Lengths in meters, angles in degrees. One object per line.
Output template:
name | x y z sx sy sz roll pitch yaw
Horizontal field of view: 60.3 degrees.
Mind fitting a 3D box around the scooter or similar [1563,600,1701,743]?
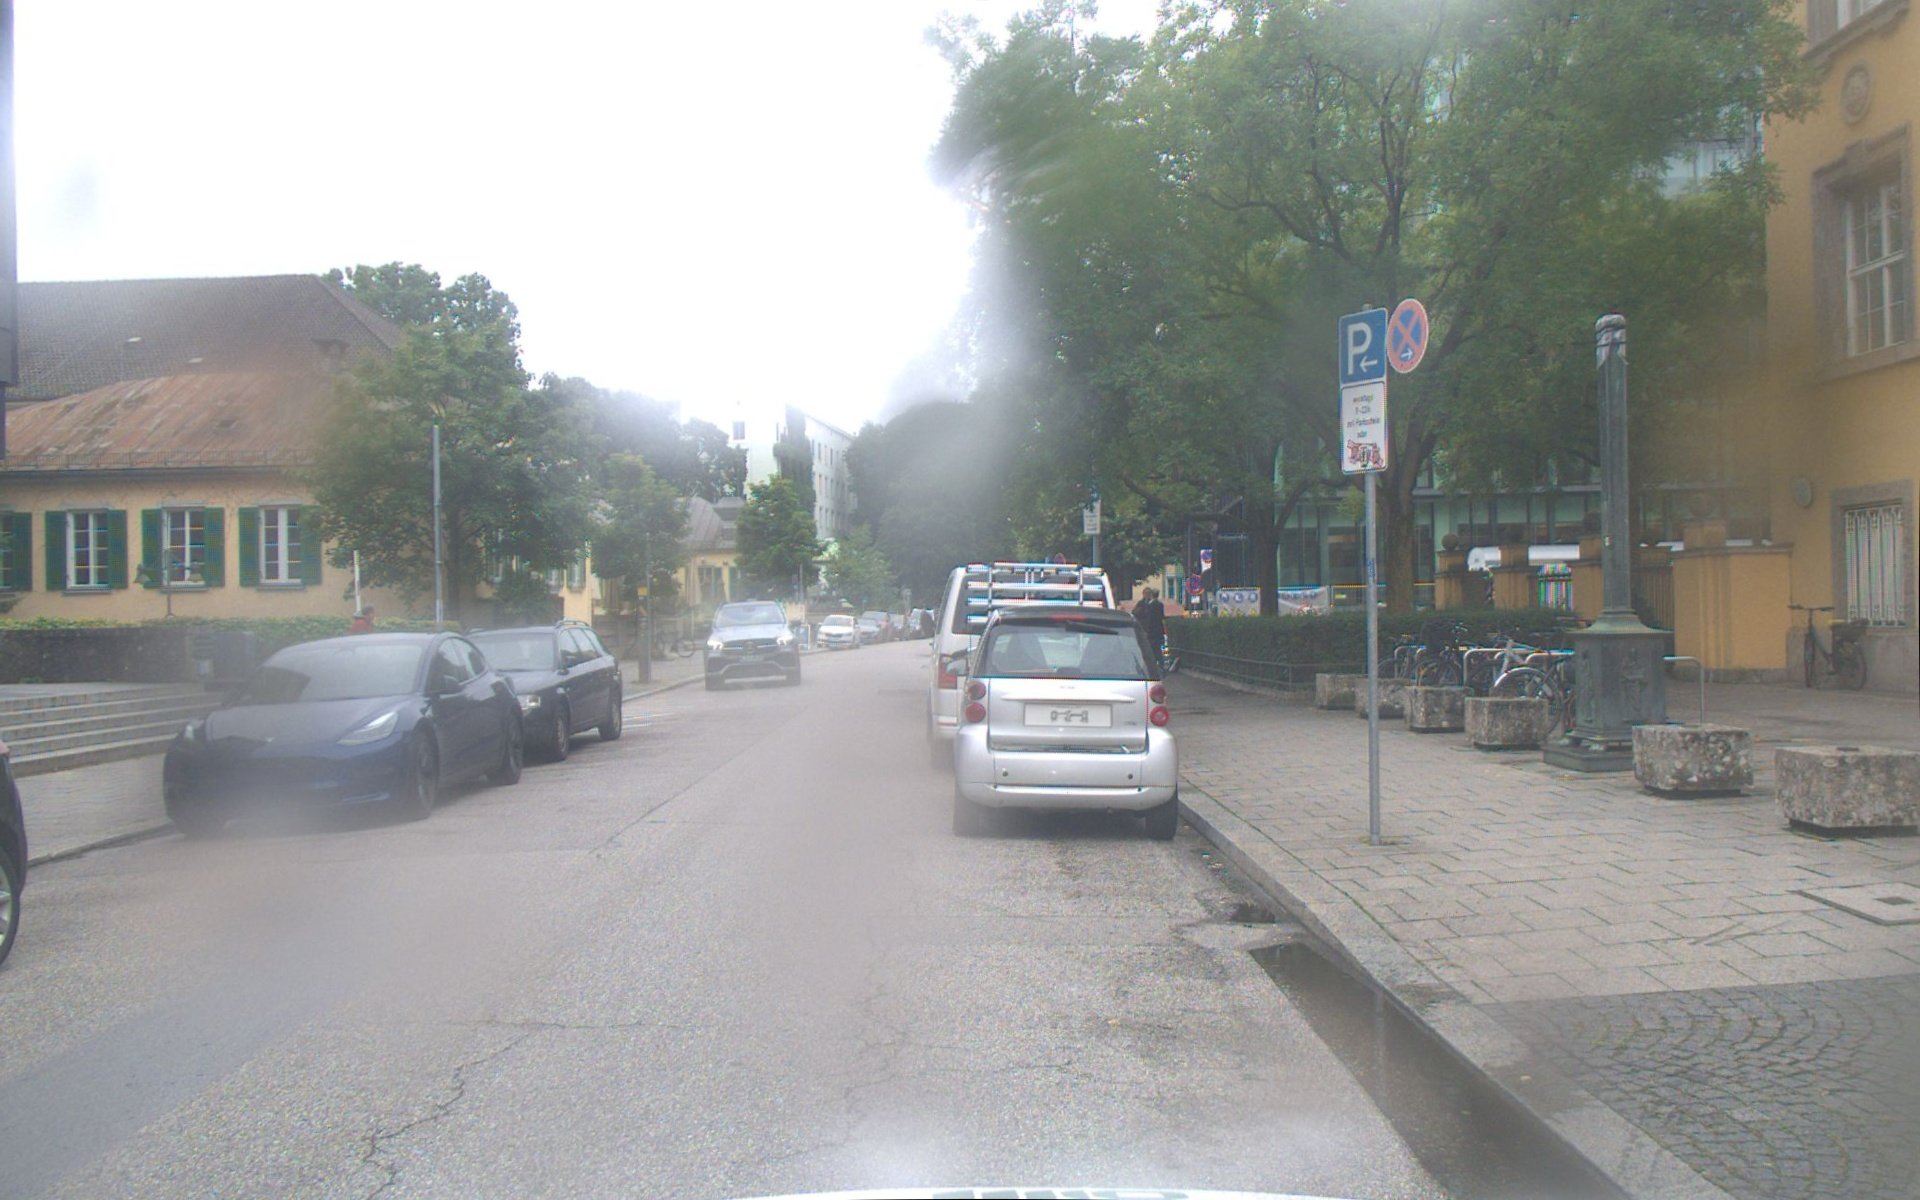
scooter or similar | 6.098 0.642 15.018 0.995 1.243 0.534 -3 -1 45

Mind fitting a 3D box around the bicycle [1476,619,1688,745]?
bicycle | 6.125 0.799 16.309 1.893 1.133 0.471 -2 0 -4

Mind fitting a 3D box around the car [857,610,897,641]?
car | -4.622 1.449 92.840 1.952 1.631 4.000 -1 -1 1

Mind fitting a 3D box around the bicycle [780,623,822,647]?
bicycle | -6.776 1.483 70.637 0.610 1.022 2.134 1 0 32

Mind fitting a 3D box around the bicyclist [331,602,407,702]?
bicyclist | -9.281 0.817 25.969 1.077 1.524 0.668 0 -2 -25

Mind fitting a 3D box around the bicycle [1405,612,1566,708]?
bicycle | 6.778 0.769 21.370 1.892 1.133 0.471 -2 0 1

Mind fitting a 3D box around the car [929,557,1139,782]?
car | 0.618 0.641 17.490 1.808 1.967 5.271 2 0 -2

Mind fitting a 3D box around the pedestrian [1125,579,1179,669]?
pedestrian | 4.217 0.520 36.271 0.729 1.941 1.052 -2 -1 35

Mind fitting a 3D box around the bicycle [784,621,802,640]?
bicycle | -8.759 1.609 86.853 0.608 1.022 1.619 -1 -2 5

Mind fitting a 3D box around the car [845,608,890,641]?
car | -4.872 1.281 87.757 1.952 1.677 4.656 -1 0 2

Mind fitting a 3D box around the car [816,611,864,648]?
car | -5.423 1.327 75.163 1.697 1.609 3.788 2 0 3

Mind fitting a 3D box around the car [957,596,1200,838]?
car | 0.783 0.780 12.390 1.572 1.573 2.933 1 0 0

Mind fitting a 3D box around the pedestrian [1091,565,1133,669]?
pedestrian | 3.233 0.363 35.246 0.727 2.172 1.055 -2 -1 -1

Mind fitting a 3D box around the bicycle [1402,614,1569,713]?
bicycle | 6.523 0.779 20.576 1.892 1.133 0.471 -2 0 1

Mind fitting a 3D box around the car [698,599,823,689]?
car | -4.133 0.877 34.996 1.983 1.719 4.677 -2 0 1

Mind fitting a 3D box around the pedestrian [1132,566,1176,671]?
pedestrian | 4.109 0.393 35.059 0.727 2.172 1.055 -2 -1 -1

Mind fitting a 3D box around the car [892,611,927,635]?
car | -3.346 1.542 110.701 1.952 1.512 4.002 -1 0 4

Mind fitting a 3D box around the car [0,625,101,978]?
car | -4.967 0.901 5.675 1.704 1.486 4.237 -3 0 1

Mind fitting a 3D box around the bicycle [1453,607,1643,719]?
bicycle | 6.482 0.689 18.278 1.892 1.133 0.471 -2 0 1

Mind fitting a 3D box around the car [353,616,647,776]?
car | -5.130 1.000 19.233 1.953 1.517 4.883 -3 0 0

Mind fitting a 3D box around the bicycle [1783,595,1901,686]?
bicycle | 12.055 0.527 22.680 0.531 1.174 1.901 -2 0 -2

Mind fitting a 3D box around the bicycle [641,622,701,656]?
bicycle | -9.738 1.319 55.722 1.890 1.118 0.615 1 -1 2

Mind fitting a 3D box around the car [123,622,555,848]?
car | -4.922 0.974 13.974 1.884 1.464 4.915 -3 -1 -2
